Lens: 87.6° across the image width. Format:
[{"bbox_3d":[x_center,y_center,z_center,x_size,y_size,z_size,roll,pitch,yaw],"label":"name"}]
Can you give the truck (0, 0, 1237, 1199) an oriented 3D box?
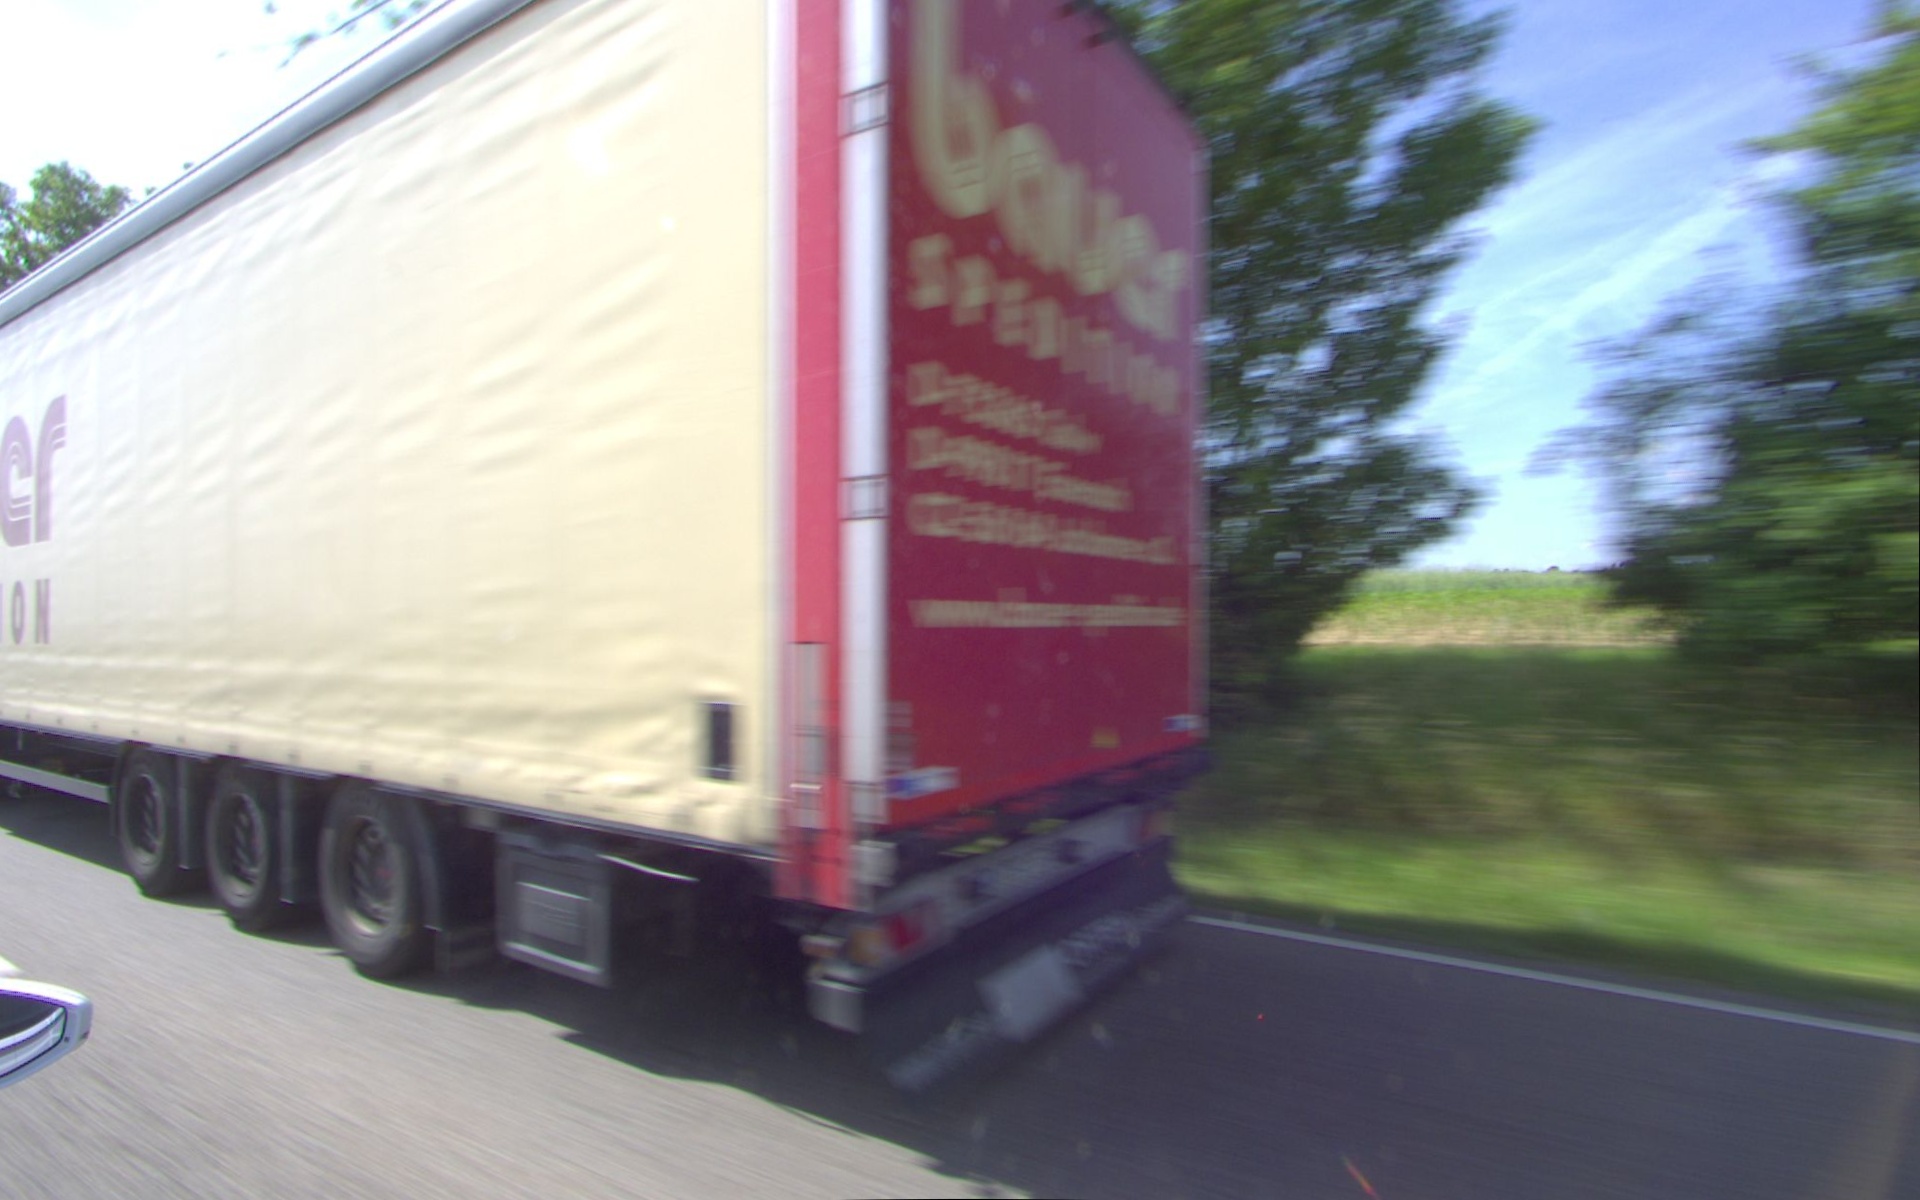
[{"bbox_3d":[-6.218,-0.342,8.534,16.488,4.233,3.000,-2,-2,35],"label":"truck"}]
